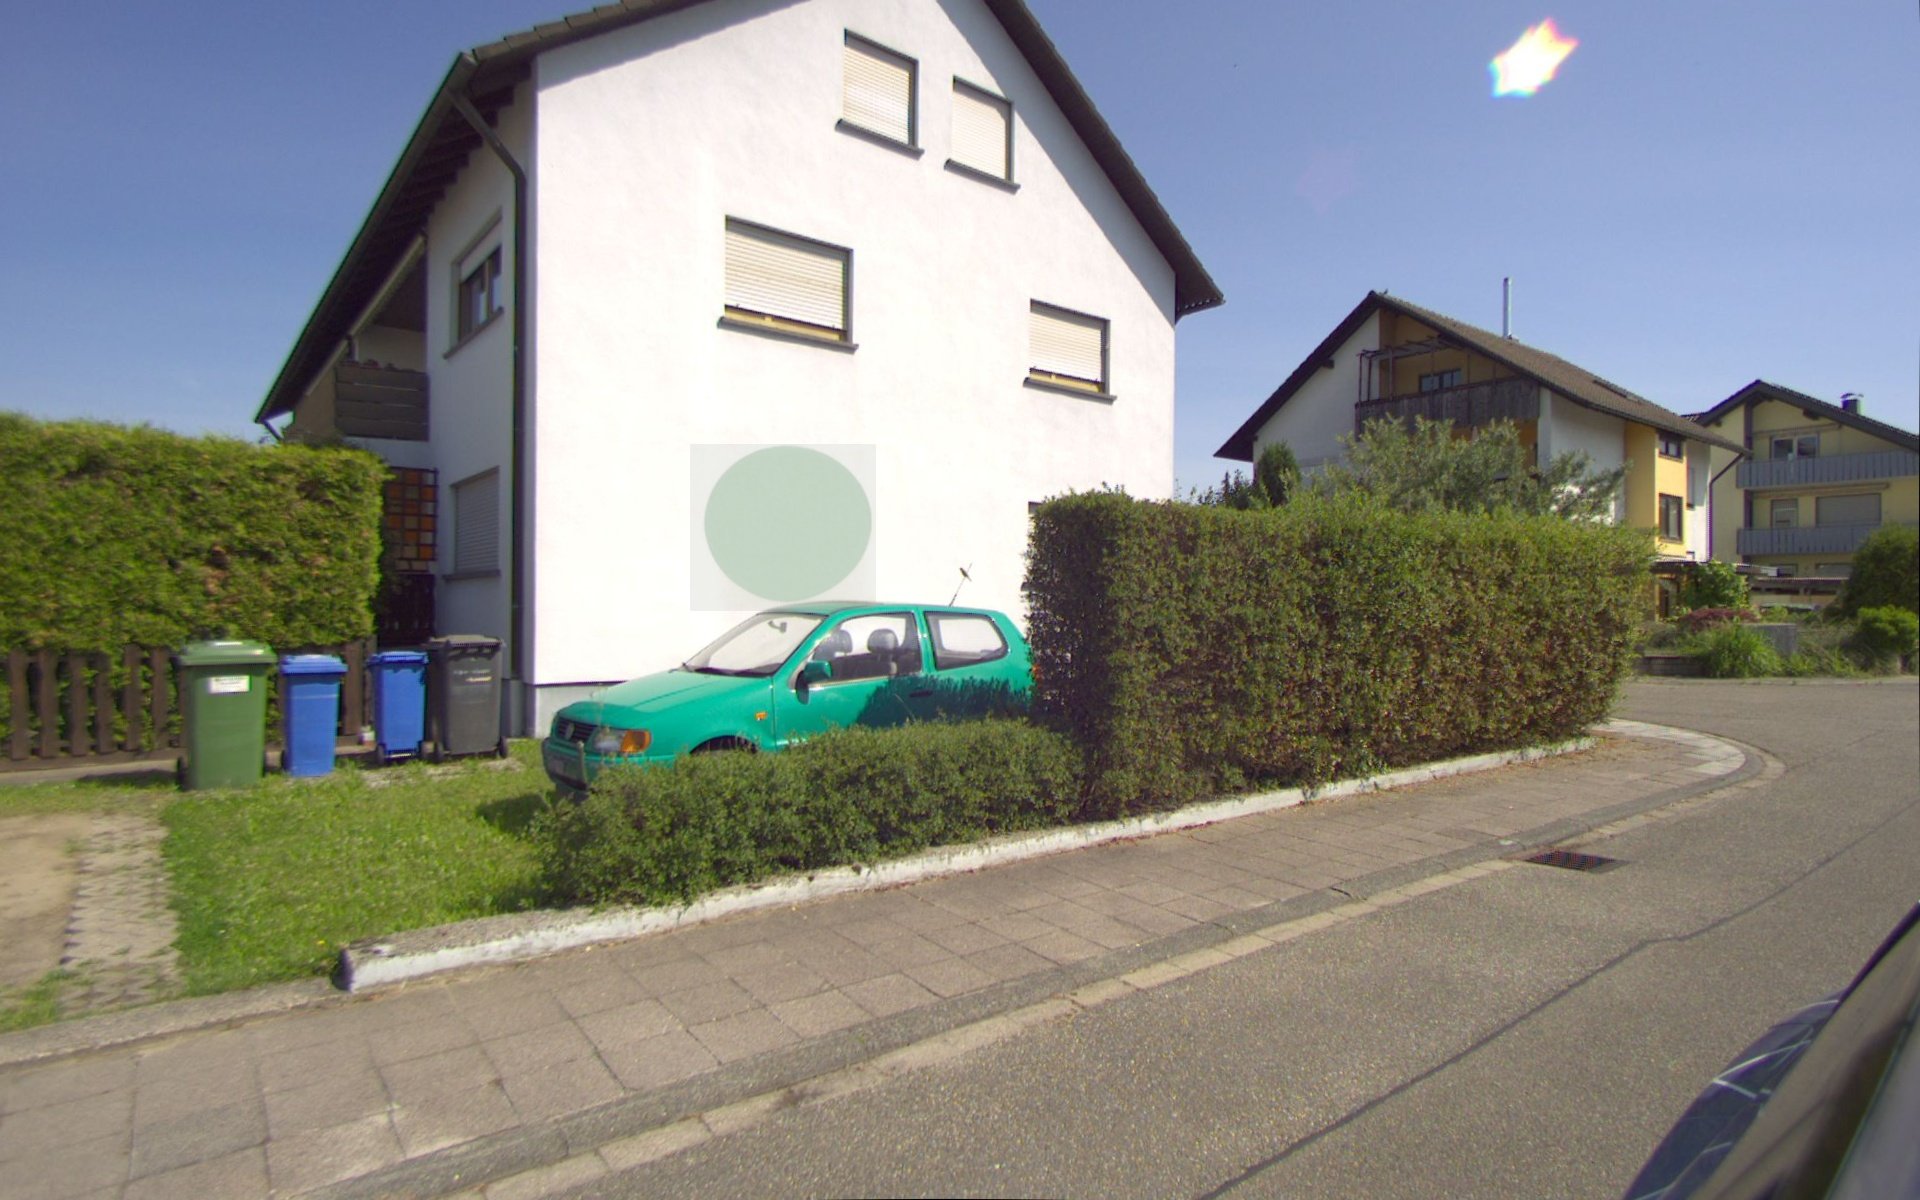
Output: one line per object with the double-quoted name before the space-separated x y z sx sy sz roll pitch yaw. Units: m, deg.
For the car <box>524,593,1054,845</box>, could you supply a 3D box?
"car" -1.076 0.645 7.224 3.464 1.376 1.497 0 0 -40
